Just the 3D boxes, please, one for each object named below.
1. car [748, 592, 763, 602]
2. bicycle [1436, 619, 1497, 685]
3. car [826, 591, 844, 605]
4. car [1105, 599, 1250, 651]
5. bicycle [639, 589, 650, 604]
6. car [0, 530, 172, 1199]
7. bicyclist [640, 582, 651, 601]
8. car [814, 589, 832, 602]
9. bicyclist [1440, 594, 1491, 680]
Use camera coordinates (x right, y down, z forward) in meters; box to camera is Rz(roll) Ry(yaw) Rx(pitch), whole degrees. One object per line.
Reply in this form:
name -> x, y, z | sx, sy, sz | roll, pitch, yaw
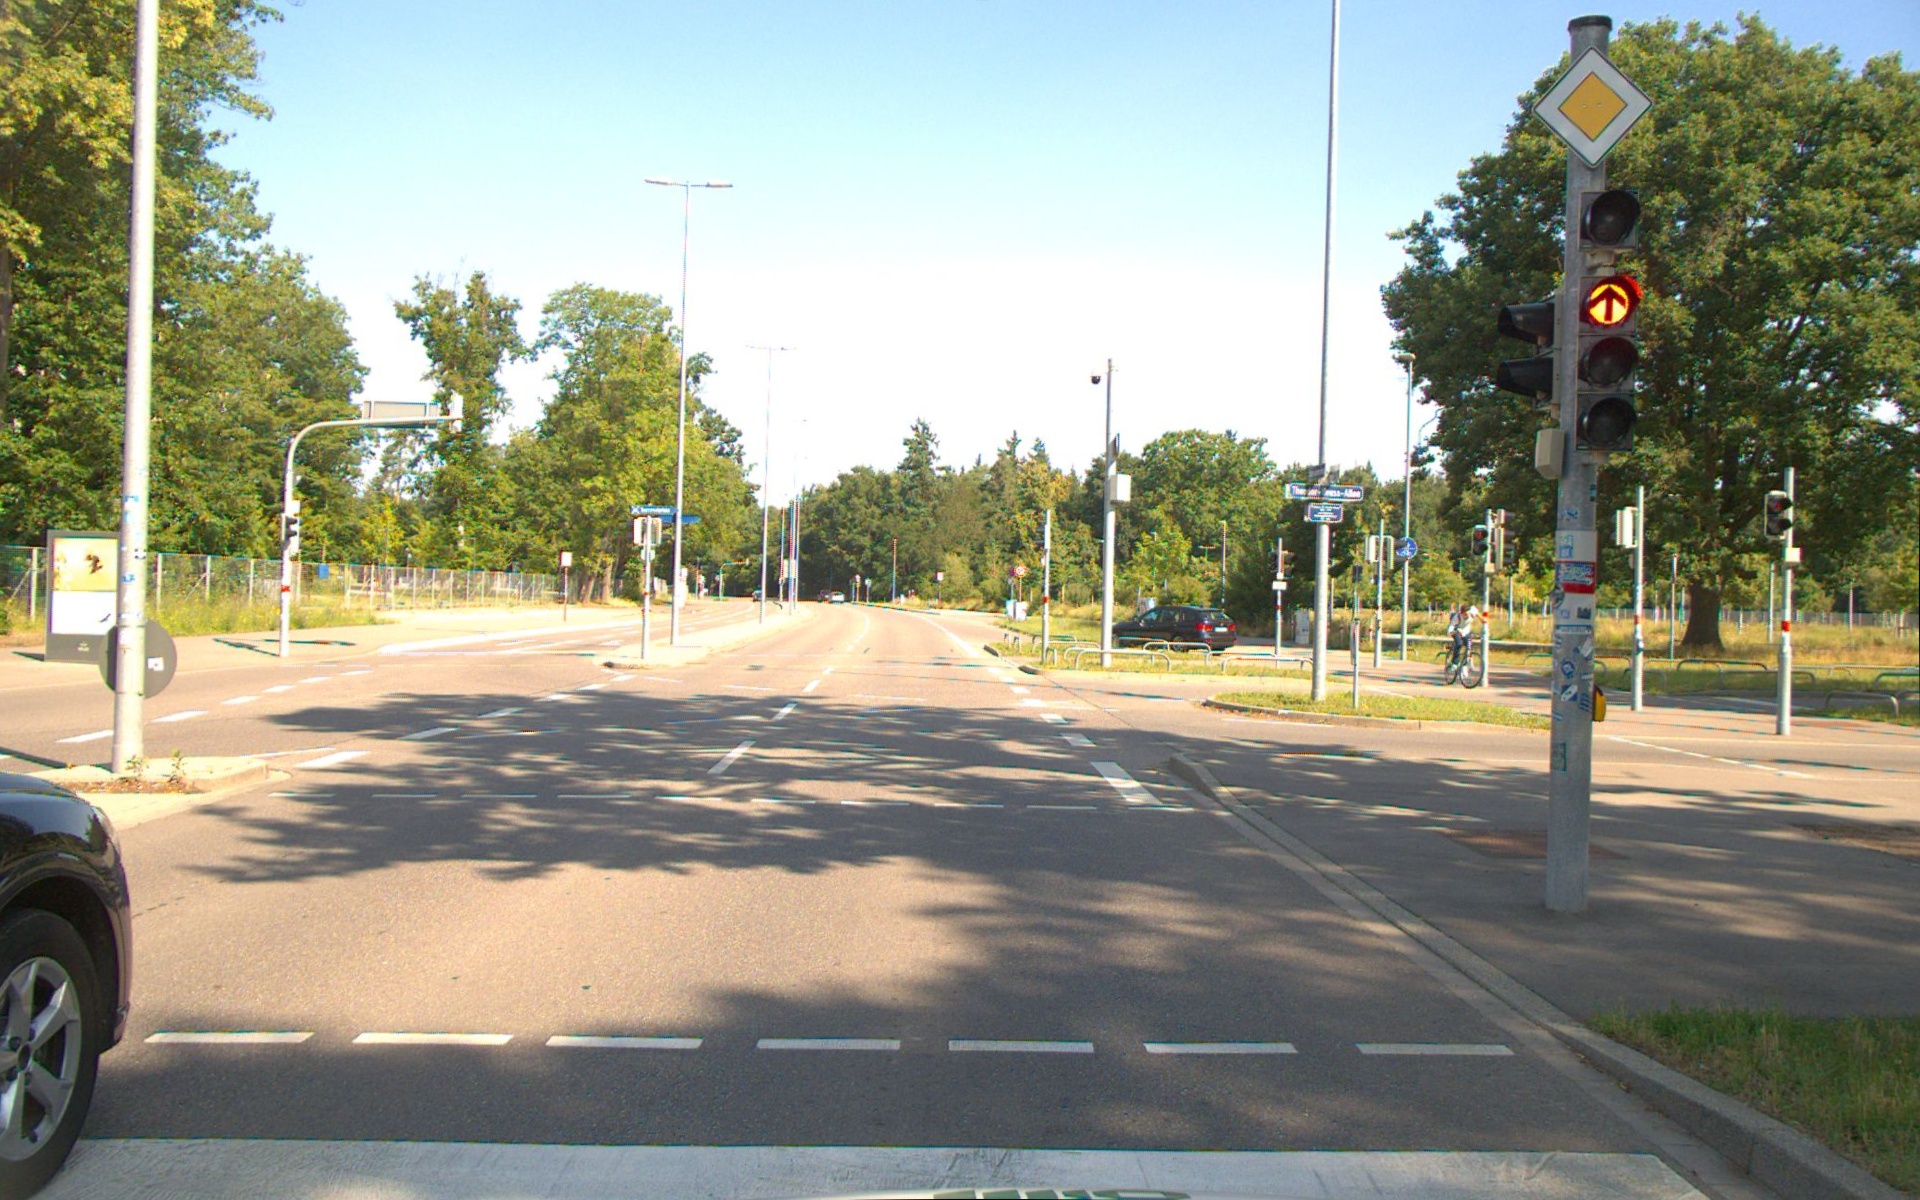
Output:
car -> -29.266, -0.407, 236.750 | 1.779, 1.412, 4.148 | -1, 0, -13
bicycle -> 10.008, 1.000, 32.749 | 0.708, 1.220, 2.102 | 1, 0, 5
car -> -16.198, -0.296, 214.309 | 1.958, 1.780, 3.989 | 1, 0, -11
car -> 6.581, 0.749, 50.330 | 1.928, 1.445, 4.233 | 1, 0, -39
bicycle -> -24.392, -0.286, 127.982 | 0.647, 1.155, 1.876 | 3, 0, -6
car -> -2.949, 0.632, 2.416 | 1.653, 1.571, 4.148 | 0, 0, -1
bicyclist -> -24.354, -0.662, 127.996 | 0.647, 1.493, 1.056 | 3, 0, -6
car -> -19.060, -0.638, 230.018 | 1.958, 1.624, 3.989 | 1, 0, -12
bicyclist -> 10.018, 0.717, 32.806 | 0.708, 1.667, 1.058 | 1, 0, 4
